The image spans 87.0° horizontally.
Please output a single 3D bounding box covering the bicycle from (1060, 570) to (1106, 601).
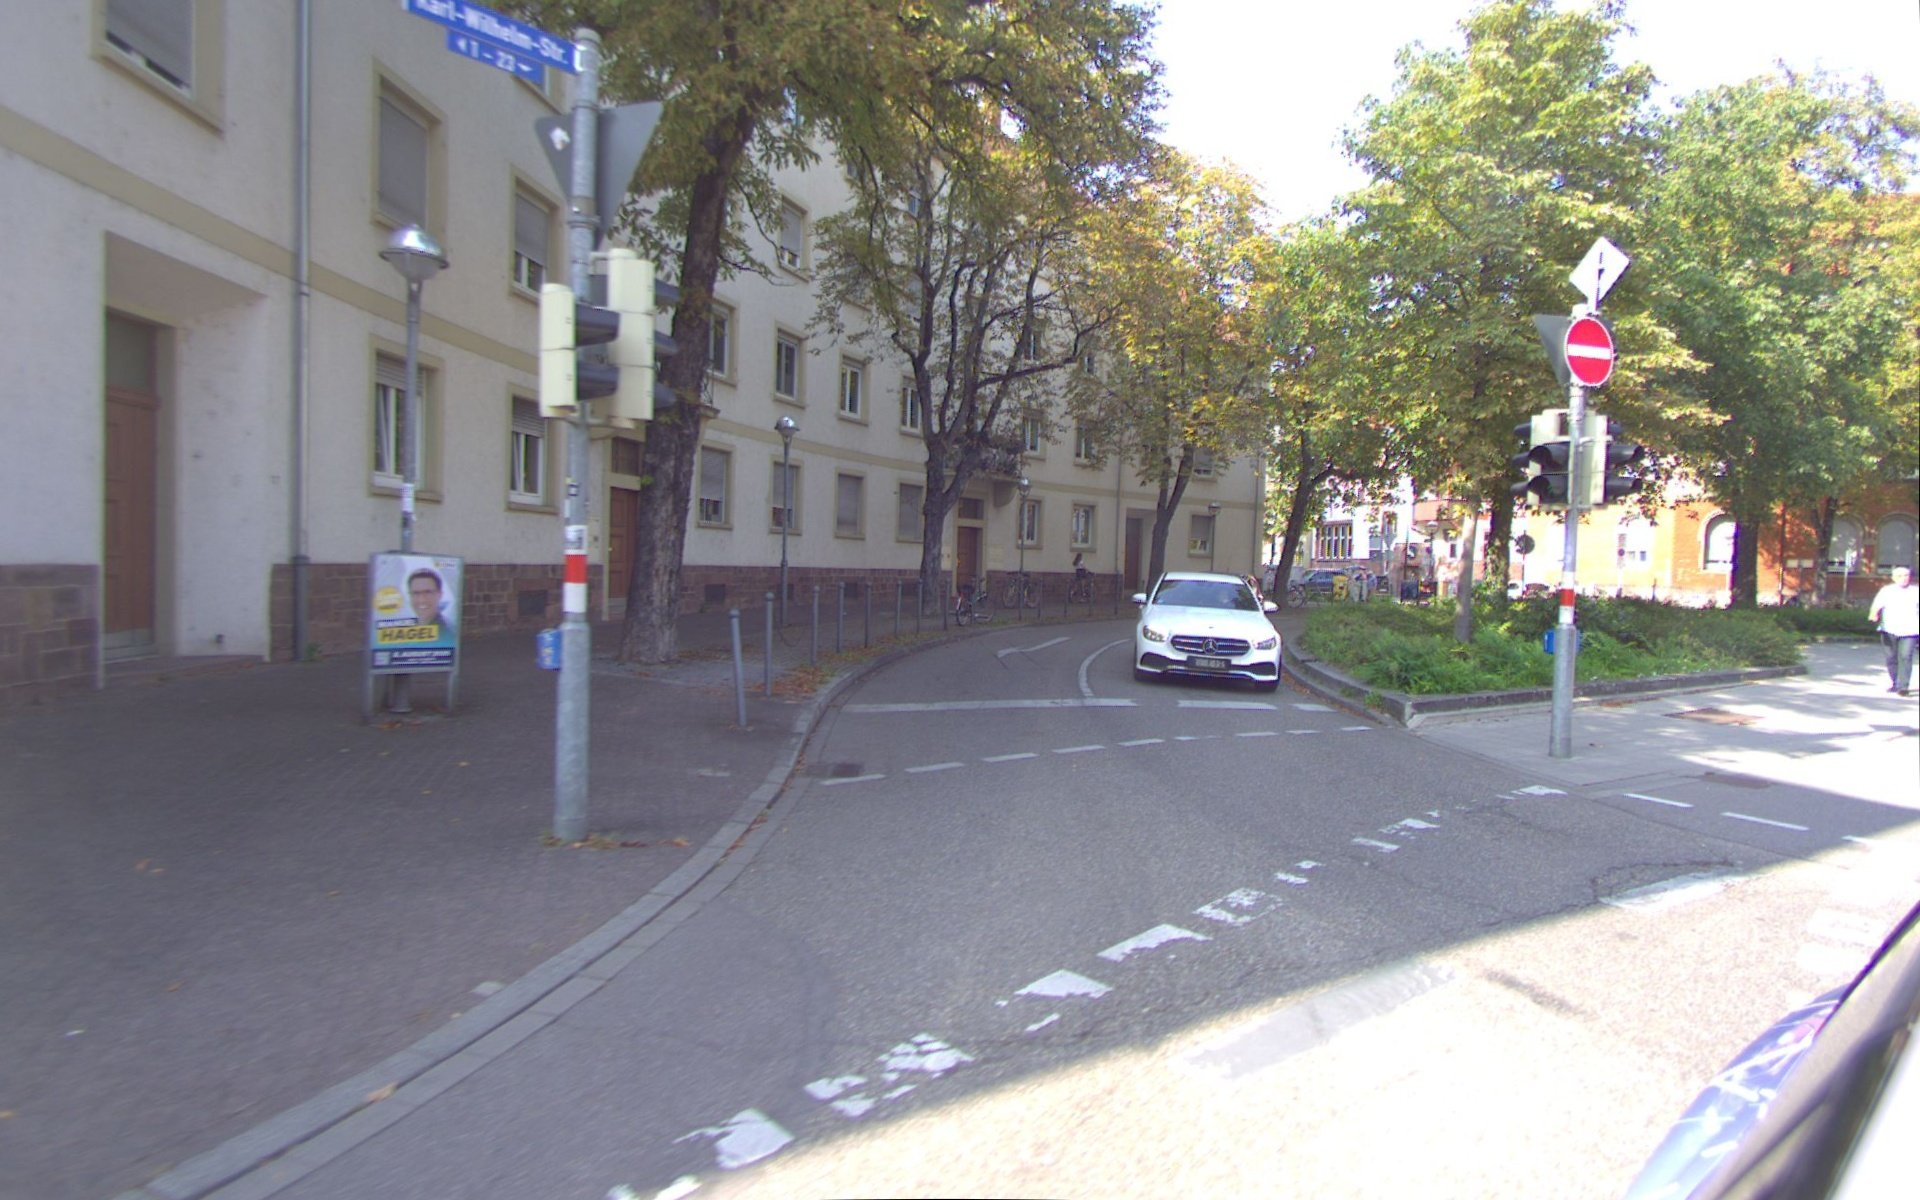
[{"bbox_3d":[4.222,-0.487,34.587,0.532,1.019,1.880,3,2,43],"label":"bicycle"}]

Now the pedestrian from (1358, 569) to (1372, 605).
[{"bbox_3d":[20.669,-0.674,51.691,0.583,1.785,0.603,2,2,19],"label":"pedestrian"}]

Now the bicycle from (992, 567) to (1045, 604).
[{"bbox_3d":[1.708,-0.419,29.458,0.532,1.019,1.883,3,2,38],"label":"bicycle"}]

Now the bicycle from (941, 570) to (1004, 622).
[{"bbox_3d":[0.290,-0.077,22.112,0.603,1.071,1.822,2,0,27],"label":"bicycle"}]

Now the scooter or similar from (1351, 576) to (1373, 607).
[{"bbox_3d":[15.495,-0.329,39.048,0.434,1.172,1.112,2,2,4],"label":"scooter or similar"}]

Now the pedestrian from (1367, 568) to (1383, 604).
[{"bbox_3d":[20.756,-0.699,50.628,0.647,1.785,0.603,2,2,21],"label":"pedestrian"}]

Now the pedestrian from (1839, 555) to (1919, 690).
[{"bbox_3d":[13.037,0.296,13.896,0.950,1.745,1.082,1,5,-31],"label":"pedestrian"}]

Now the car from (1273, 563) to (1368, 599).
[{"bbox_3d":[18.008,-0.970,50.583,4.108,1.658,1.666,1,2,-10],"label":"car"}]

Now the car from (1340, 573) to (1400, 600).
[{"bbox_3d":[25.787,-0.887,63.833,1.588,1.586,4.008,1,2,-9],"label":"car"}]

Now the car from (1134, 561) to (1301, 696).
[{"bbox_3d":[3.533,0.242,14.717,1.847,1.486,4.942,4,3,10],"label":"car"}]

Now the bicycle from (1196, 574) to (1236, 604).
[{"bbox_3d":[9.272,-0.392,36.625,1.458,1.073,0.418,0,2,-27],"label":"bicycle"}]

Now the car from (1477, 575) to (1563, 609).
[{"bbox_3d":[28.120,-0.428,50.929,1.588,1.586,4.008,1,2,-9],"label":"car"}]

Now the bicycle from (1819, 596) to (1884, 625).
[{"bbox_3d":[34.524,0.396,39.219,1.810,1.072,0.606,1,-1,11],"label":"bicycle"}]

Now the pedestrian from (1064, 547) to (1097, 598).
[{"bbox_3d":[4.115,-0.947,34.561,0.851,1.692,0.687,0,2,-43],"label":"pedestrian"}]

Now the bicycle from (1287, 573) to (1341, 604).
[{"bbox_3d":[13.358,-0.445,38.266,0.598,1.071,1.868,0,2,-40],"label":"bicycle"}]

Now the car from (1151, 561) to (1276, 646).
[{"bbox_3d":[5.248,0.019,20.588,1.734,1.469,3.857,4,2,24],"label":"car"}]

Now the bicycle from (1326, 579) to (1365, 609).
[{"bbox_3d":[14.615,-0.247,38.396,0.596,1.071,1.842,1,2,-5],"label":"bicycle"}]
